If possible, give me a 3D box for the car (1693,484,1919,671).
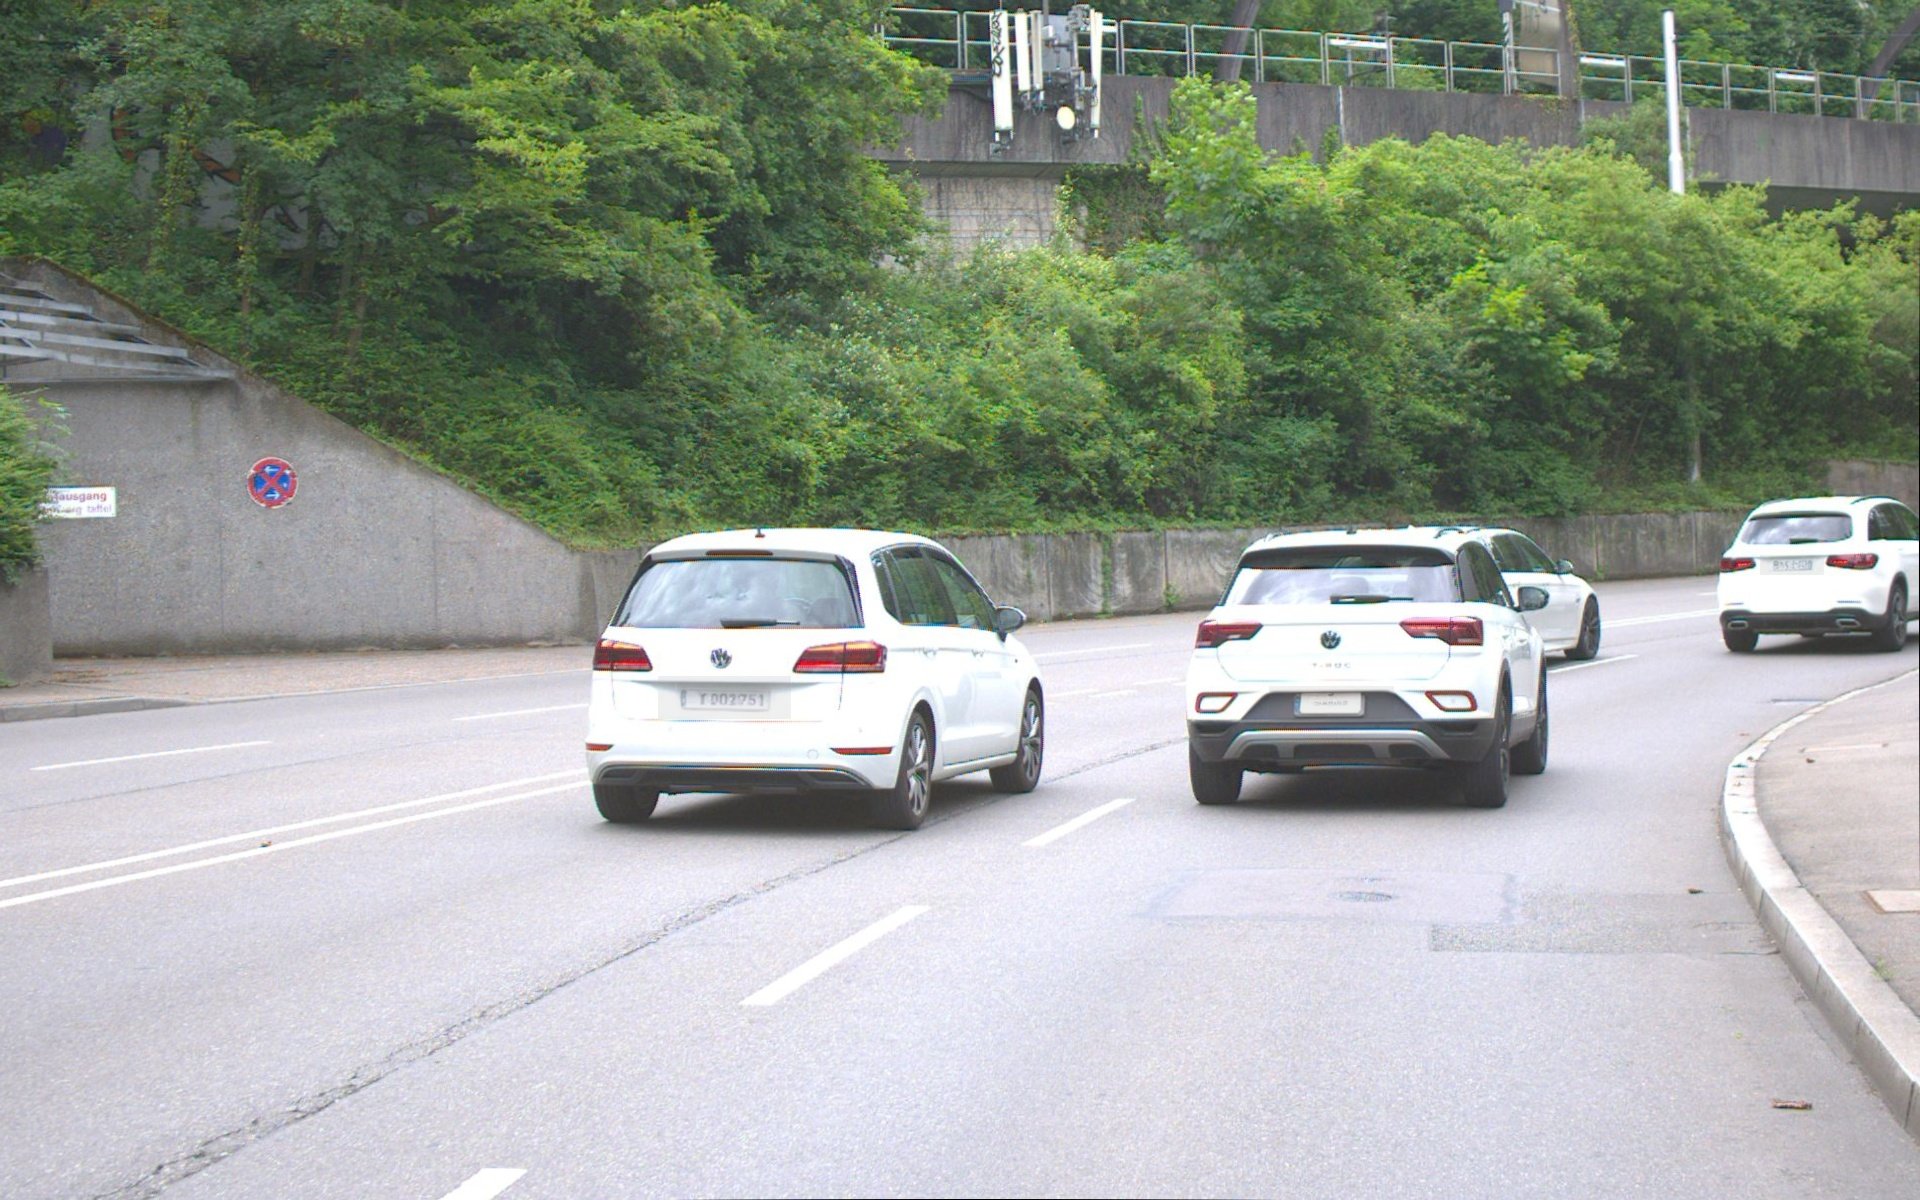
[{"bbox_3d":[9.599,-0.203,37.674,1.996,1.837,4.143,2,-2,27],"label":"car"}]

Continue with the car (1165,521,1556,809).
[{"bbox_3d":[2.486,0.365,20.510,1.815,1.534,4.006,0,0,14],"label":"car"}]

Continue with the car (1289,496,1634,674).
[{"bbox_3d":[5.208,-0.216,35.137,1.997,1.552,4.674,3,4,28],"label":"car"}]

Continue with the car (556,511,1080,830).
[{"bbox_3d":[-0.657,0.368,19.298,1.721,1.549,4.272,1,0,15],"label":"car"}]
